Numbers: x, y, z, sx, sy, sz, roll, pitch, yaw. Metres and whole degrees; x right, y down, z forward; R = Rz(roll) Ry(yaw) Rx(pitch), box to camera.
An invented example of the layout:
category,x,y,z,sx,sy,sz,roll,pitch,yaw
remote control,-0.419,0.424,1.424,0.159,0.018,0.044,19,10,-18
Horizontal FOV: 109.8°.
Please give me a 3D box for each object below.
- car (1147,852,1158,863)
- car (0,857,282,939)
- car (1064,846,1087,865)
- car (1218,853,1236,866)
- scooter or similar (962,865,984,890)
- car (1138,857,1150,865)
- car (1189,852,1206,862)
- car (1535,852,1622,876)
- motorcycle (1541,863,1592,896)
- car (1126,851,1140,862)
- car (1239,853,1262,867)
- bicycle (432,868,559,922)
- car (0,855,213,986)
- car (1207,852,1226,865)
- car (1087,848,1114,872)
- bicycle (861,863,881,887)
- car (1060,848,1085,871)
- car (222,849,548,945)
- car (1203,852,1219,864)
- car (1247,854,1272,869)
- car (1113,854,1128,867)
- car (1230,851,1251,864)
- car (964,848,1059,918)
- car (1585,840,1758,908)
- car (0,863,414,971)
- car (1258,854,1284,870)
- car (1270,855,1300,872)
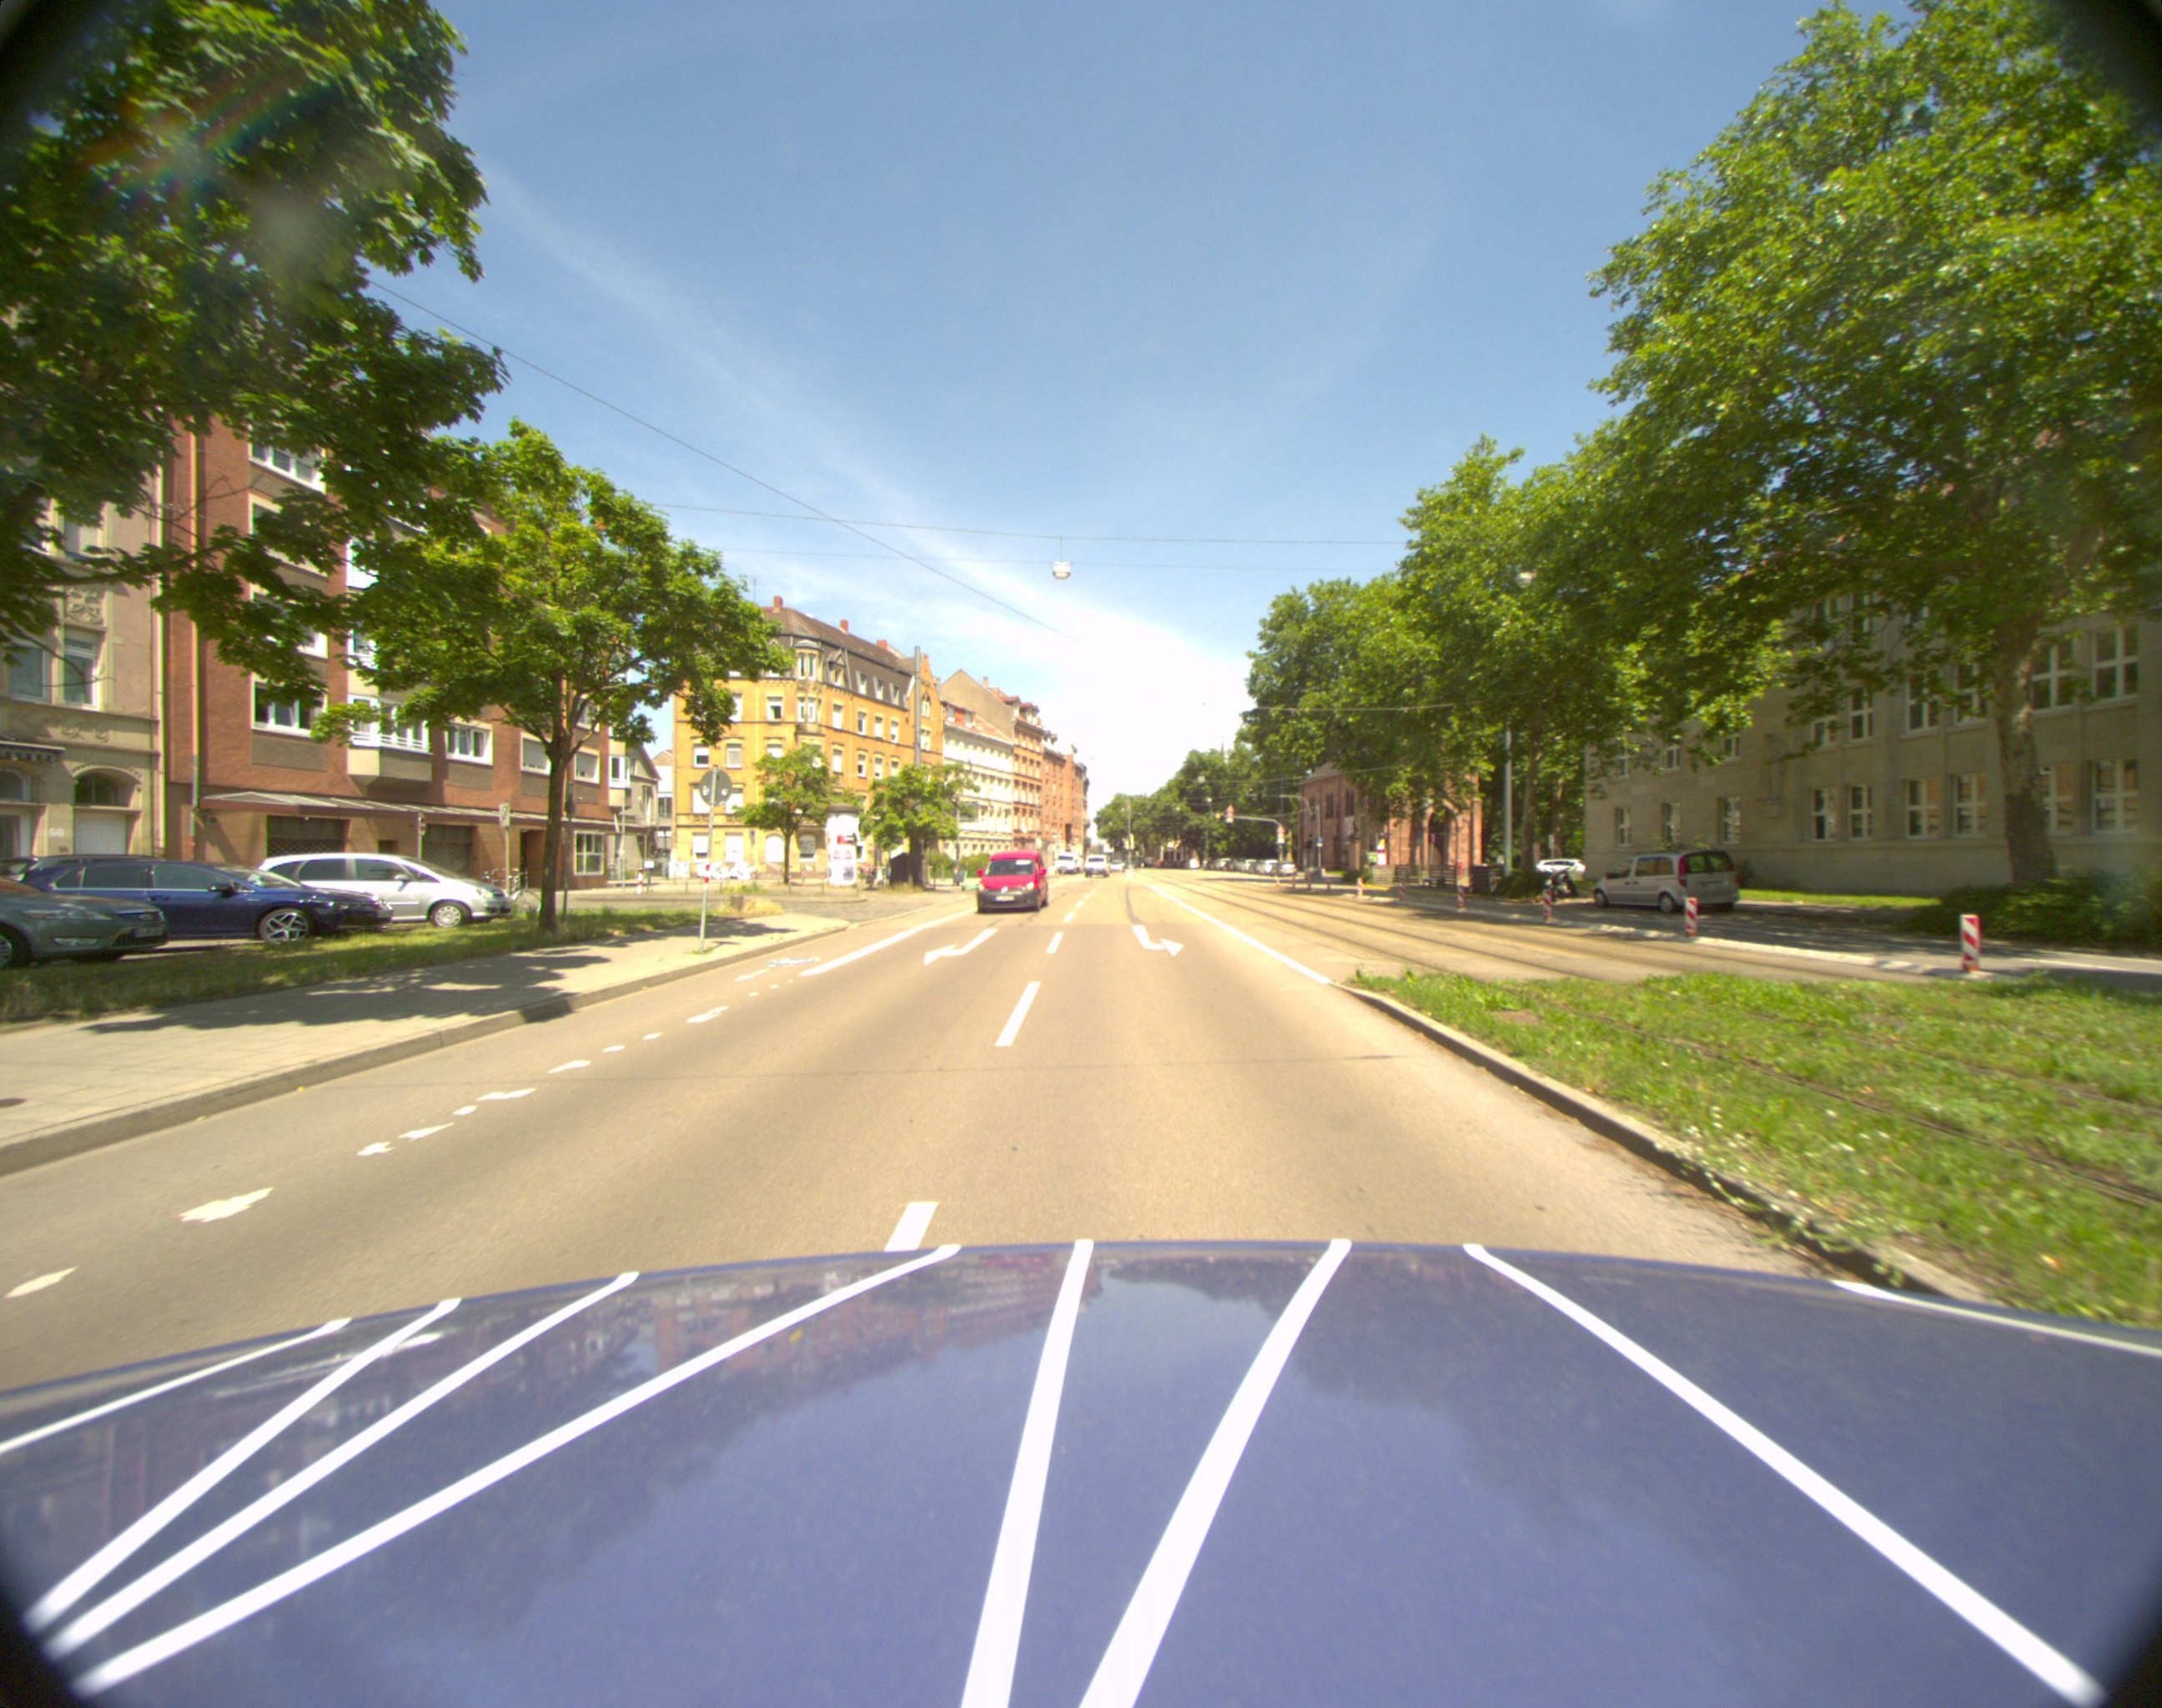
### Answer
category,x,y,z,sx,sy,sz,roll,pitch,yaw
car,15.184,0.818,161.345,1.821,2.284,3.761,-2,0,-1
car,-22.061,0.918,17.538,1.997,1.591,4.601,-2,0,9
car,-0.617,0.127,91.103,1.997,2.123,5.274,2,1,6
car,19.519,0.715,101.908,1.747,1.643,3.906,-2,0,2
scooter or similar,-5.249,1.137,36.915,0.390,1.207,1.182,3,0,25
car,12.132,1.374,146.803,1.751,1.387,4.346,-2,0,-1
car,19.047,0.421,124.647,1.977,1.554,3.999,-2,0,-2
car,33.660,0.670,51.519,1.918,1.499,4.524,-2,0,-33
motorcycle,17.600,0.906,27.514,1.874,1.062,0.725,-3,1,-29
car,7.579,0.383,111.078,1.800,1.565,4.001,-2,0,3
car,19.120,0.688,85.671,1.747,1.450,3.753,-2,0,0
bicycle,-14.613,1.000,19.039,0.739,1.186,2.365,-1,0,33
car,-14.277,0.835,9.126,4.638,1.488,1.962,-2,0,-22
car,19.467,0.672,109.293,1.998,1.707,4.000,-2,0,1
car,1.757,0.505,68.003,2.165,1.926,4.855,-2,0,4
bicycle,-10.257,1.016,37.180,0.487,1.146,1.708,-2,0,-1
car,-0.933,0.562,84.021,1.997,2.317,5.410,2,1,6
car,-13.806,0.780,15.480,4.416,1.622,1.997,-2,0,-20
car,19.662,0.543,114.874,1.825,1.681,3.732,-2,0,1
car,18.960,0.774,80.704,1.662,1.450,4.058,-2,0,0
car,4.934,0.770,95.663,1.800,1.565,4.001,-2,0,3
car,19.158,0.407,91.320,1.747,1.514,3.753,-2,0,0
car,-1.940,0.772,22.911,1.859,1.823,5.168,-2,0,5
car,17.481,0.535,22.804,1.998,1.800,4.301,-2,0,3
car,-13.726,0.906,12.265,4.003,1.391,1.821,-2,0,-19
car,18.879,0.772,75.672,1.662,1.450,4.059,-2,0,2
car,18.875,0.831,70.512,1.662,1.450,4.221,-2,0,2
